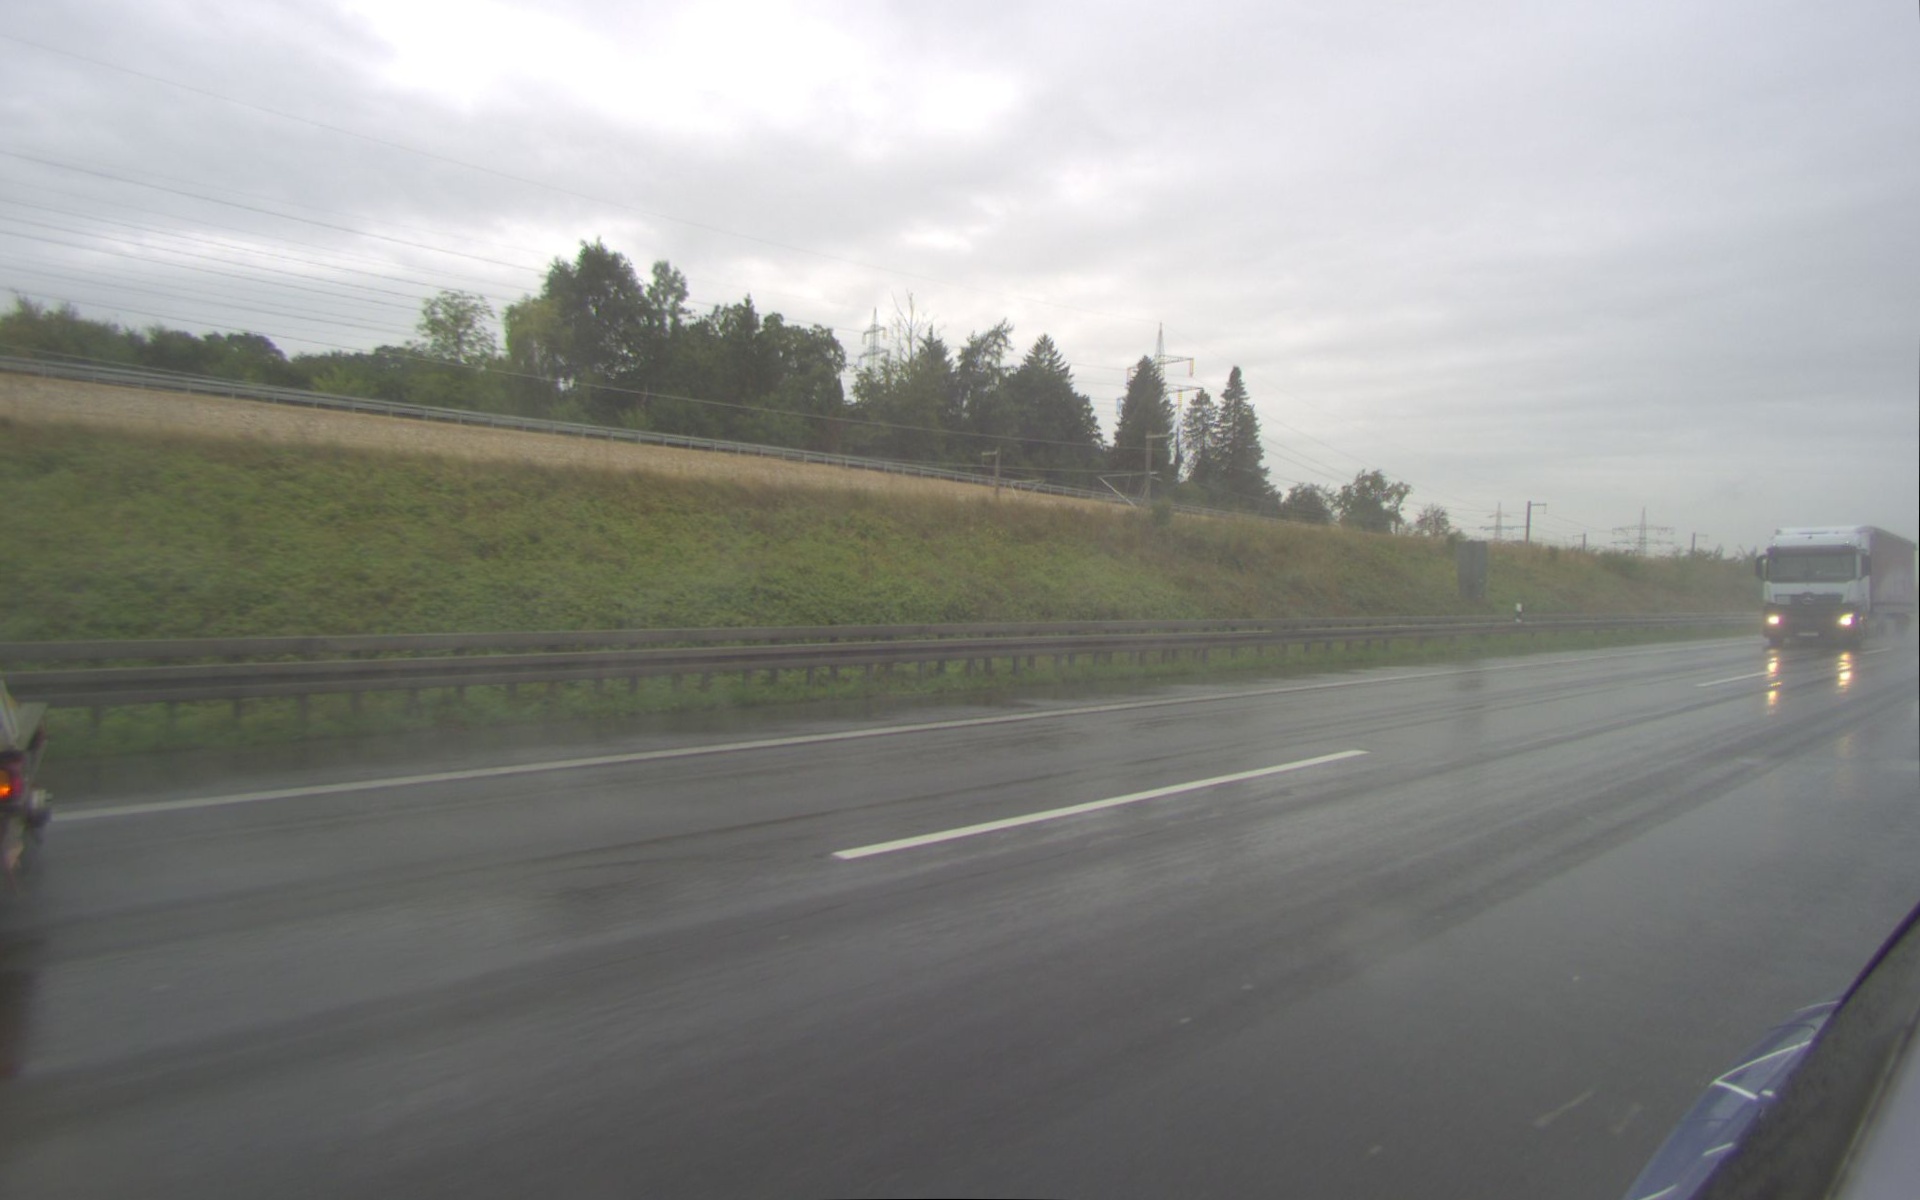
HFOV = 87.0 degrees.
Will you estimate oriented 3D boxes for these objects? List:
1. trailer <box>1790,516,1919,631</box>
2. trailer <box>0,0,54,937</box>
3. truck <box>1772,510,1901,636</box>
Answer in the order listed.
[{"bbox_3d":[36.005,-0.813,39.822,16.253,3.813,2.484,1,0,-41],"label":"trailer"},{"bbox_3d":[-8.655,-0.678,1.432,10.873,3.931,2.501,1,0,-42],"label":"trailer"},{"bbox_3d":[29.968,-0.820,34.518,6.089,3.938,2.456,1,0,-41],"label":"truck"}]
